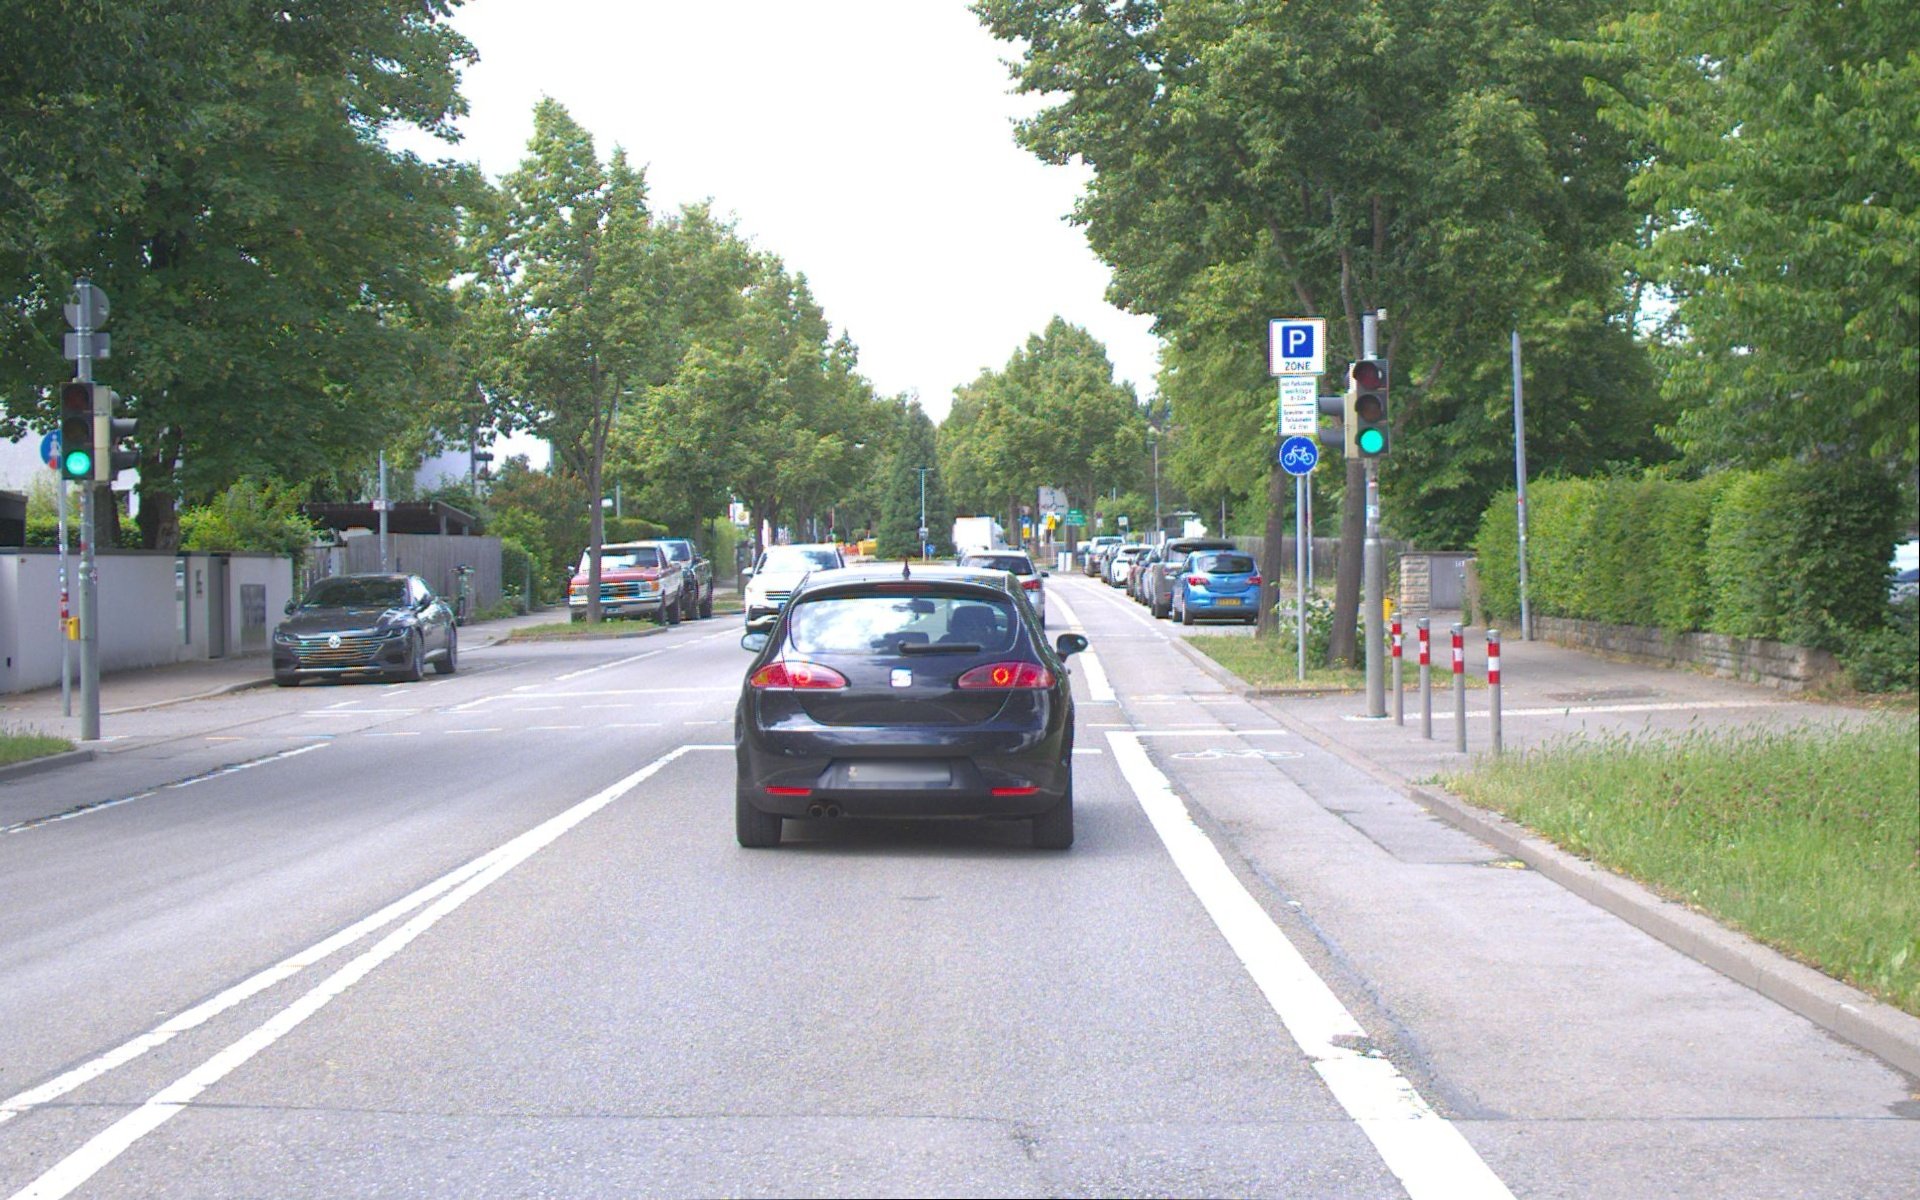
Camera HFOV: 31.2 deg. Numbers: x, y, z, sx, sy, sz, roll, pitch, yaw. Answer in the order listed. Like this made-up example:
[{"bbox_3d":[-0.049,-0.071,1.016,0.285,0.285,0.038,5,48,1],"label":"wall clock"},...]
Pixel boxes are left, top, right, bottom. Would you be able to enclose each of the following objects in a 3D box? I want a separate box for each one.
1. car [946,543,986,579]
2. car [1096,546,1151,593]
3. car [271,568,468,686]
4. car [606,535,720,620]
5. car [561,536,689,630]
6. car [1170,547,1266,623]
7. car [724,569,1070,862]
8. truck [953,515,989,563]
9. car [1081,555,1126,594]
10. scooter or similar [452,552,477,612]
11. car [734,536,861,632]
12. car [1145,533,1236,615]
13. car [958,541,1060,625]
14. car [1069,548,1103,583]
[{"bbox_3d":[0.297,-1.877,165.028,1.881,1.683,4.214,-1,1,1],"label":"car"},{"bbox_3d":[5.573,-1.053,117.636,1.688,1.559,4.214,-1,1,1],"label":"car"},{"bbox_3d":[-7.819,0.318,45.907,1.718,1.390,4.801,-2,1,1],"label":"car"},{"bbox_3d":[-7.073,-0.566,82.328,2.100,1.890,5.784,-2,1,1],"label":"car"},{"bbox_3d":[-7.233,-0.396,74.718,2.100,1.890,5.784,-2,1,1],"label":"car"},{"bbox_3d":[5.168,-0.321,69.132,1.688,1.485,3.355,-1,1,1],"label":"car"},{"bbox_3d":[-0.333,0.545,18.624,1.663,1.396,3.812,1,1,-1],"label":"car"},{"bbox_3d":[0.713,-4.005,227.251,2.279,3.093,8.511,1,0,0],"label":"truck"},{"bbox_3d":[5.918,-1.083,141.997,1.688,1.559,4.214,-1,1,1],"label":"car"},{"bbox_3d":[-10.304,-0.377,71.500,0.387,1.225,1.499,-1,1,-3],"label":"scooter or similar"},{"bbox_3d":[-2.933,-0.321,63.003,1.875,1.629,4.340,-2,1,3],"label":"car"},{"bbox_3d":[4.958,-0.581,74.308,1.688,1.706,4.214,-1,1,1],"label":"car"},{"bbox_3d":[0.946,-0.328,64.898,1.846,1.504,3.812,1,1,1],"label":"car"},{"bbox_3d":[6.754,-1.874,184.895,1.688,1.869,4.214,-1,1,1],"label":"car"}]
